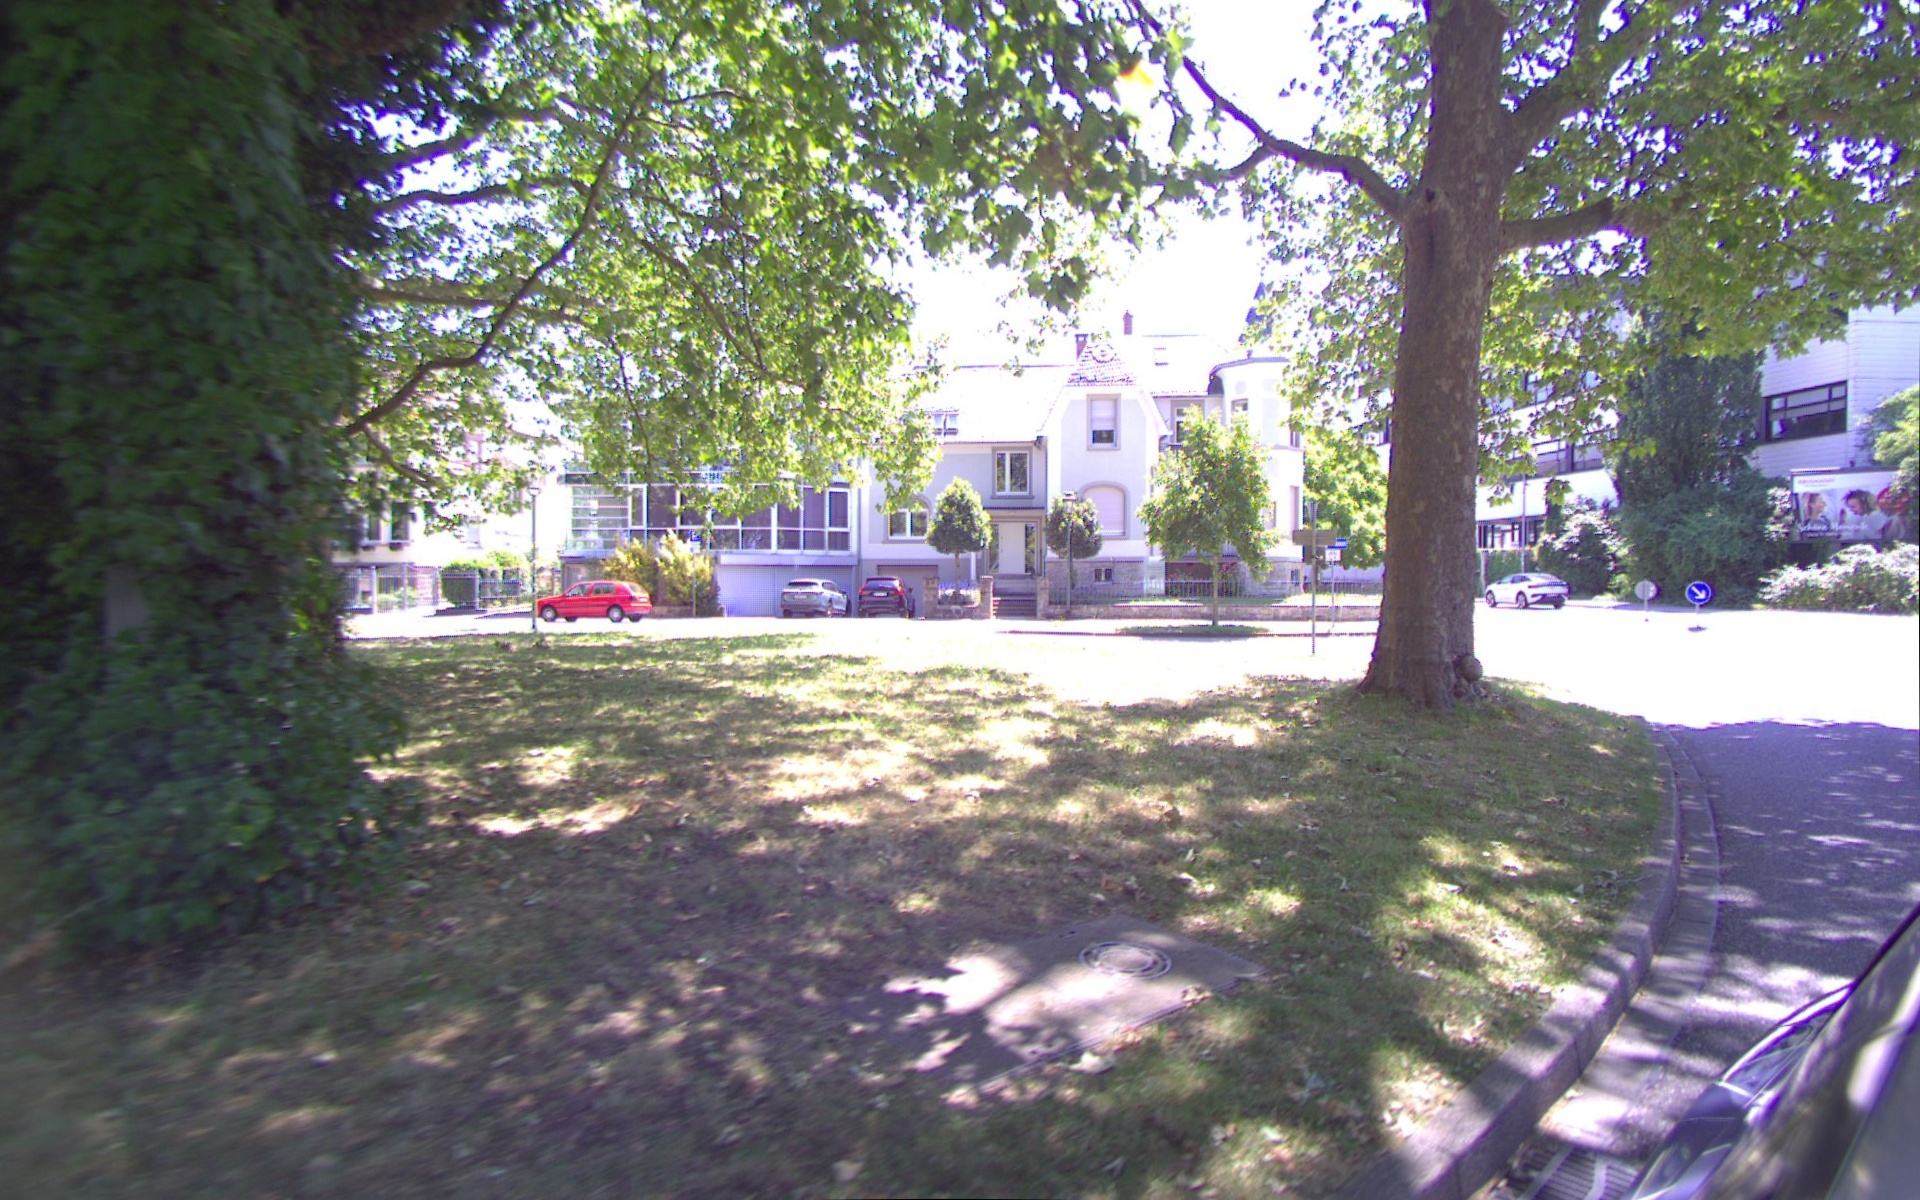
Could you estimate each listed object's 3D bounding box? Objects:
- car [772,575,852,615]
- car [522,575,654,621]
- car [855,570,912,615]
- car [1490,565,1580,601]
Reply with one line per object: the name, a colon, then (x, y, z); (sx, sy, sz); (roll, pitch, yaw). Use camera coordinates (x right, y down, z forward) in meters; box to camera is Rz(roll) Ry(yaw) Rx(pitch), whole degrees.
car: (-5.610, -0.232, 38.837); (1.967, 1.408, 3.991); (0, 2, 9)
car: (-12.844, -0.097, 35.089); (3.928, 1.543, 1.752); (0, 1, 4)
car: (-2.915, -0.332, 39.287); (1.961, 1.587, 4.003); (-2, 2, -2)
car: (26.504, -0.774, 46.814); (1.816, 1.549, 4.336); (-1, 1, 3)
